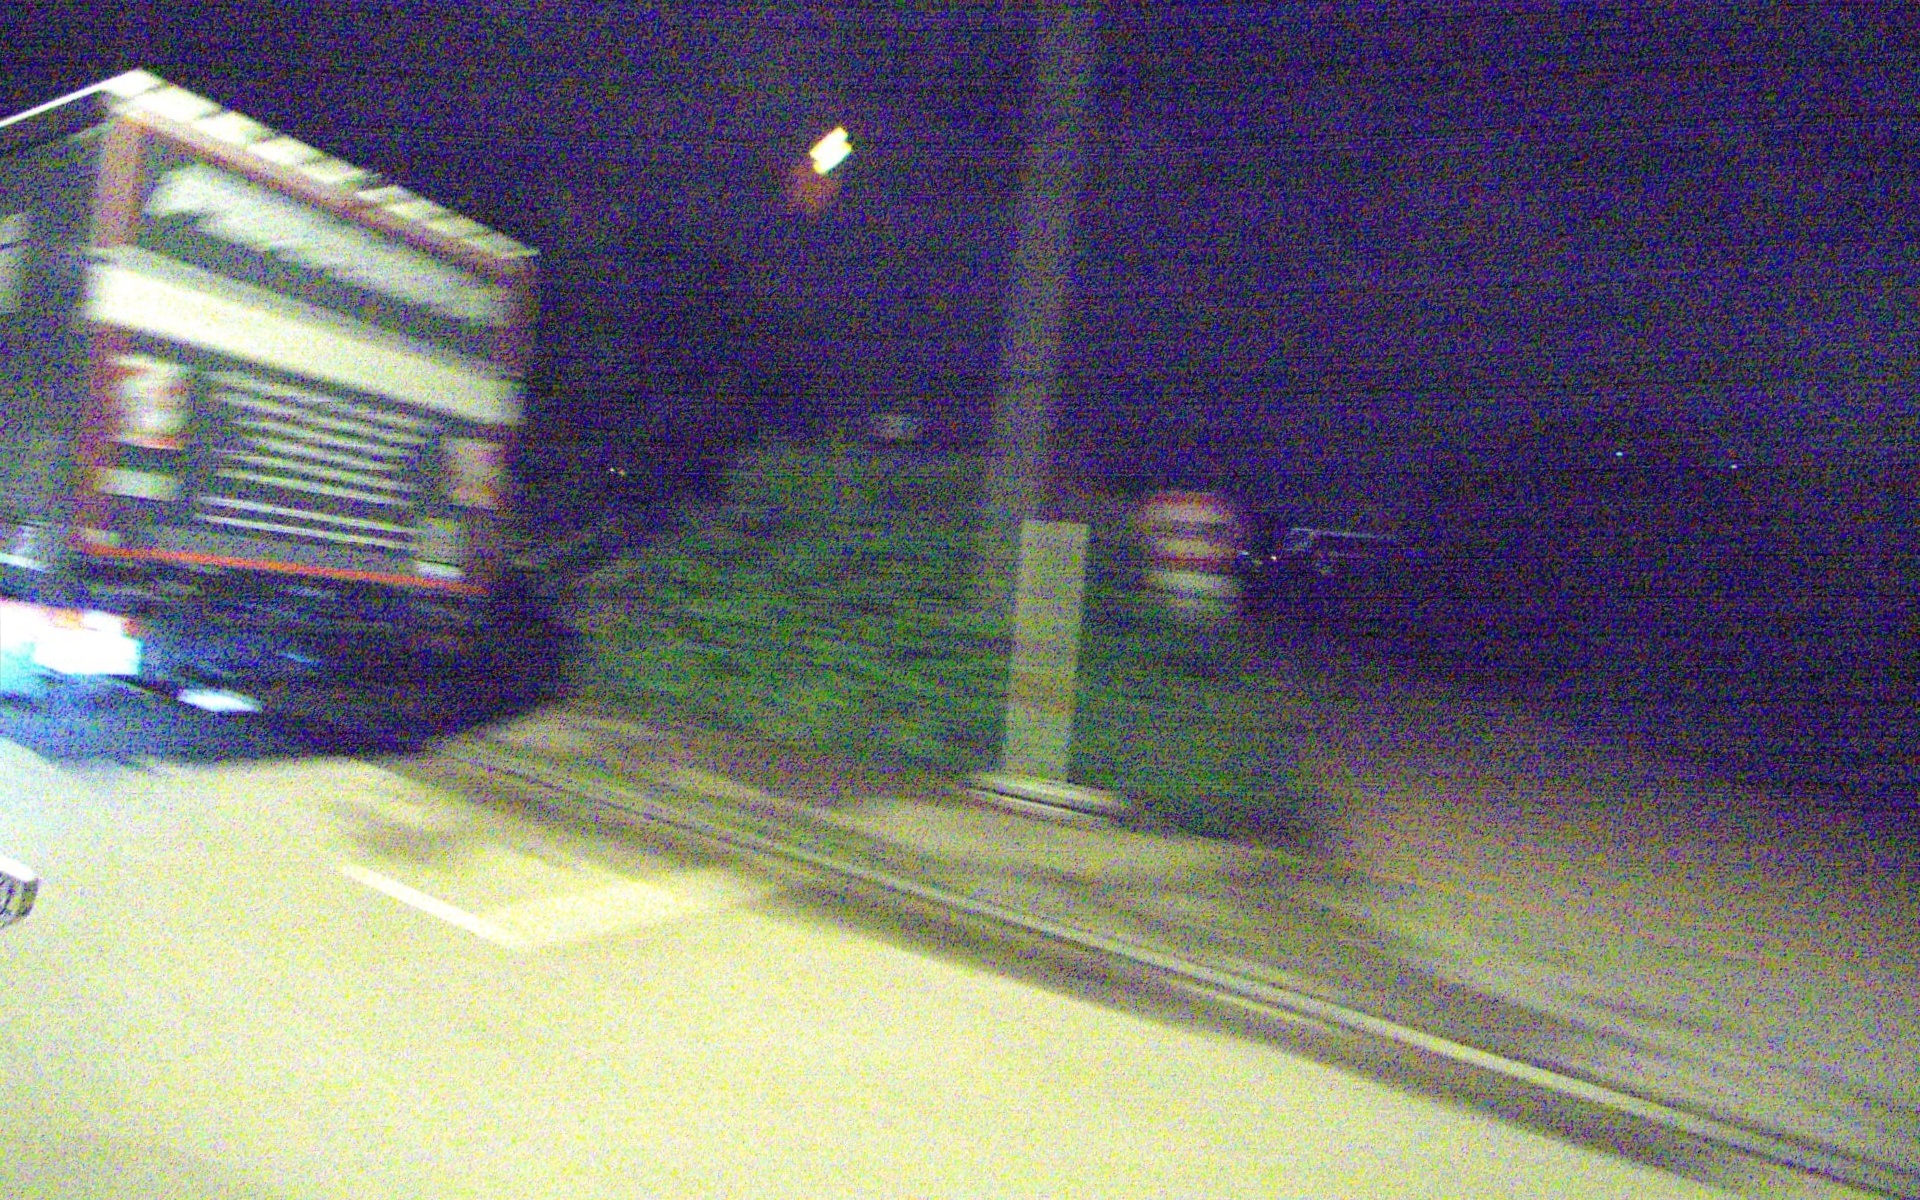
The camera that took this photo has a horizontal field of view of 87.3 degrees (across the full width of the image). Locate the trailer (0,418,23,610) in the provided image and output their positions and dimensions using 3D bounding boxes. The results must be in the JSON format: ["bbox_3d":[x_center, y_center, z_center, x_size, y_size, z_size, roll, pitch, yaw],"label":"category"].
[{"bbox_3d":[-14.391,-1.314,13.175,4.943,2.503,1.635,7,0,31],"label":"trailer"}]

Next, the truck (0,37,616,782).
[{"bbox_3d":[-7.744,-1.278,9.045,9.171,3.915,3.330,6,-1,31],"label":"truck"}]
